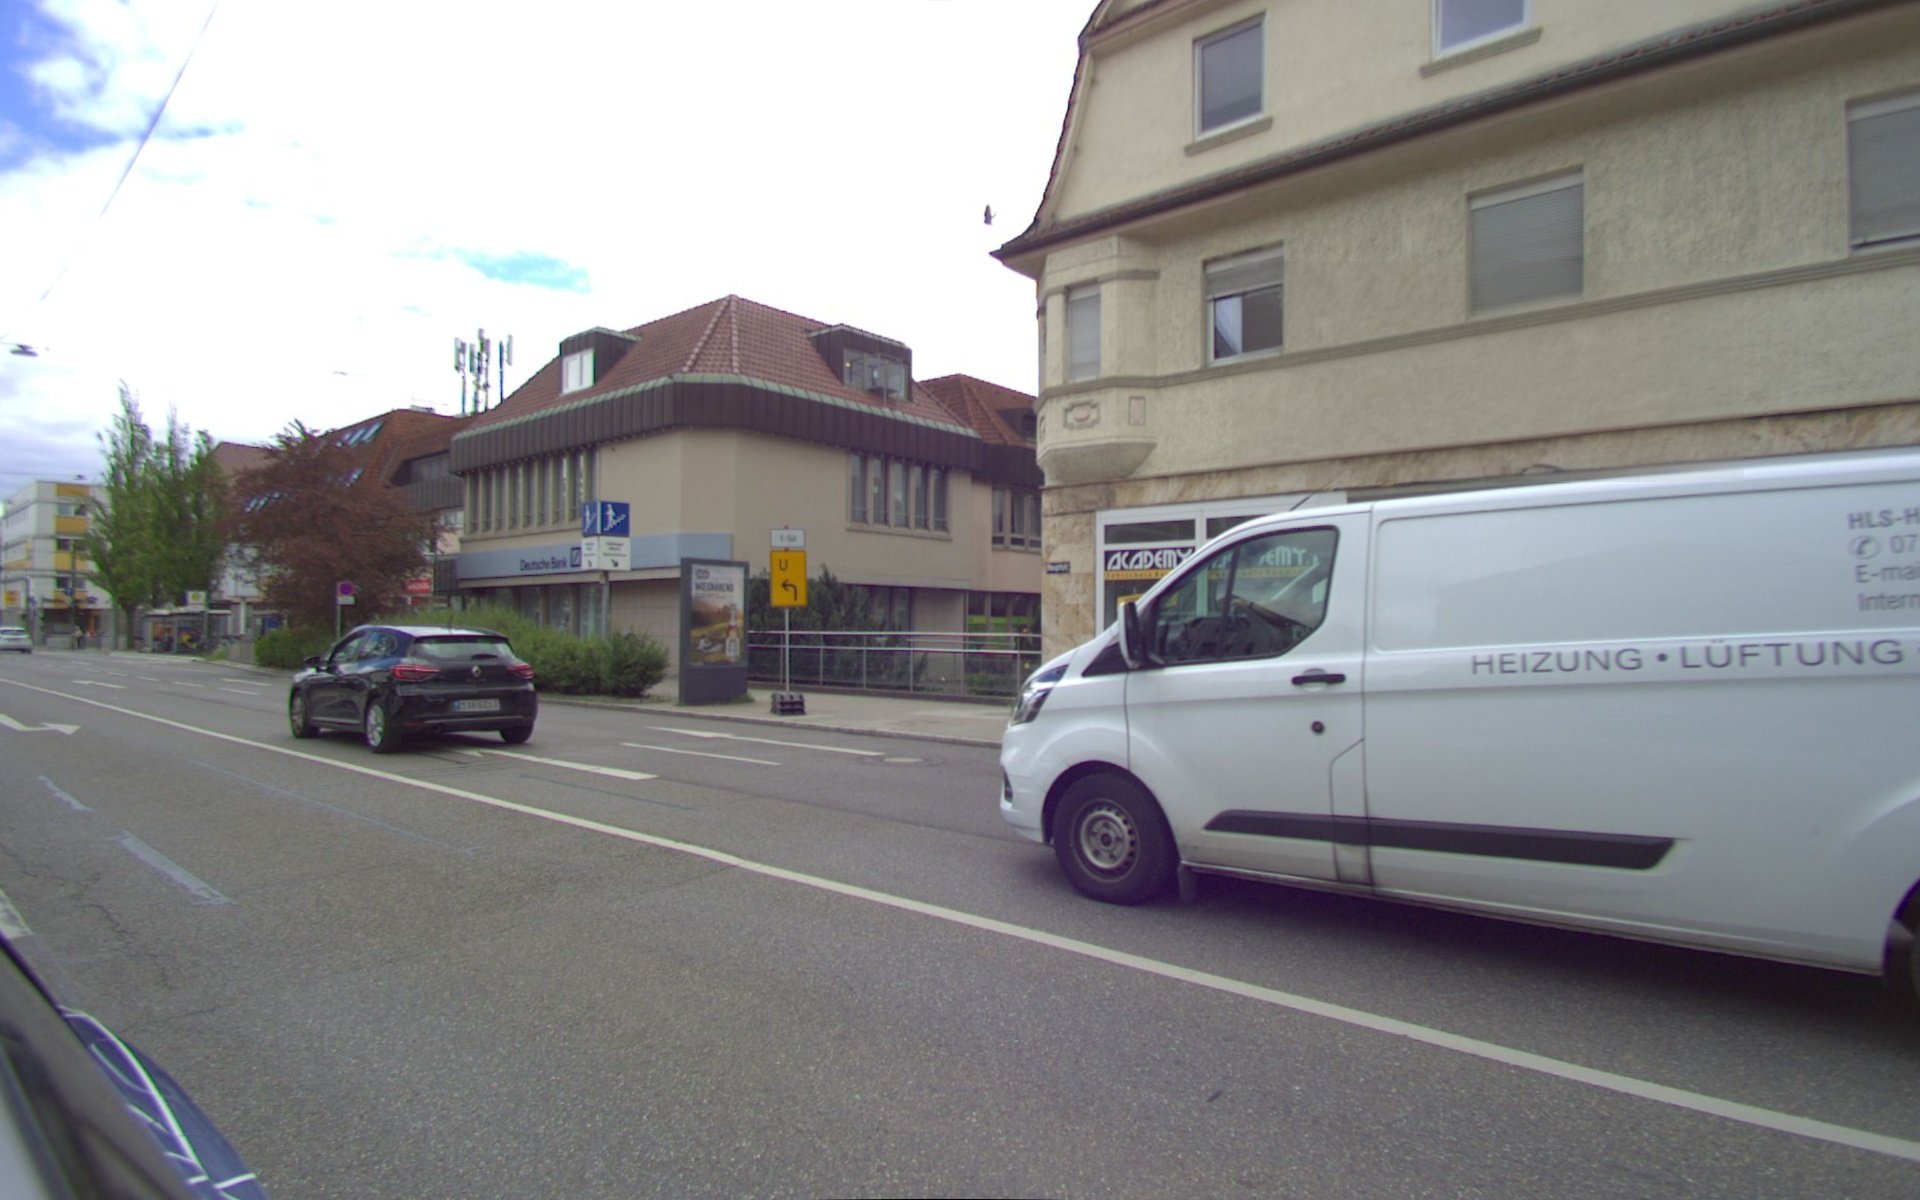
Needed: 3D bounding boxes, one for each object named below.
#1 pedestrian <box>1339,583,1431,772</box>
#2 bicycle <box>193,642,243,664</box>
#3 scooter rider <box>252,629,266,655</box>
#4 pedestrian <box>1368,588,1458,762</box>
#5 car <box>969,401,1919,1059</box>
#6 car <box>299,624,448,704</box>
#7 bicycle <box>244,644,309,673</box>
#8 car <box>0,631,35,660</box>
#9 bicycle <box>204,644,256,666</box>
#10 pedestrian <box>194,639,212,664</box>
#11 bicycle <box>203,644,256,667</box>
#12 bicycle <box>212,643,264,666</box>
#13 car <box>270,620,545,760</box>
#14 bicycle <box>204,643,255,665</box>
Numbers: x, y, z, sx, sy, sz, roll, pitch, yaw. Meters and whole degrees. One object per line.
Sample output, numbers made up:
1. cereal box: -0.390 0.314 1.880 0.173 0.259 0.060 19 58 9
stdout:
1. pedestrian: 4.332 0.767 10.312 0.680 1.838 0.627 -2 -3 40
2. bicycle: -38.419 2.759 52.431 0.648 1.098 2.000 -2 -3 36
3. scooter rider: -47.523 2.830 68.588 0.587 1.725 0.607 -3 0 37
4. pedestrian: 4.857 0.774 10.839 0.680 1.775 0.680 -2 -1 40
5. car: 2.641 0.451 4.521 5.135 1.976 1.941 -2 -4 40
6. car: -12.292 1.302 21.152 3.505 1.535 1.600 -2 -4 41
7. bicycle: -26.684 2.265 39.530 0.646 1.098 2.003 -2 -2 31
8. car: -56.156 2.689 59.837 3.924 1.580 1.623 -2 -5 41
9. bicycle: -36.729 2.759 50.928 0.646 1.098 2.003 -2 -2 31
10. pedestrian: -43.228 2.933 57.790 0.588 1.374 0.704 -3 -3 42
11. bicycle: -35.774 2.697 49.606 0.646 1.098 2.003 -2 -2 31
12. bicycle: -36.088 2.714 50.611 0.646 1.098 2.003 -2 -2 31
13. car: -6.810 1.006 12.317 3.919 1.439 1.600 -2 -3 40
14. bicycle: -37.468 2.768 51.923 0.646 1.098 2.003 -2 -2 31
